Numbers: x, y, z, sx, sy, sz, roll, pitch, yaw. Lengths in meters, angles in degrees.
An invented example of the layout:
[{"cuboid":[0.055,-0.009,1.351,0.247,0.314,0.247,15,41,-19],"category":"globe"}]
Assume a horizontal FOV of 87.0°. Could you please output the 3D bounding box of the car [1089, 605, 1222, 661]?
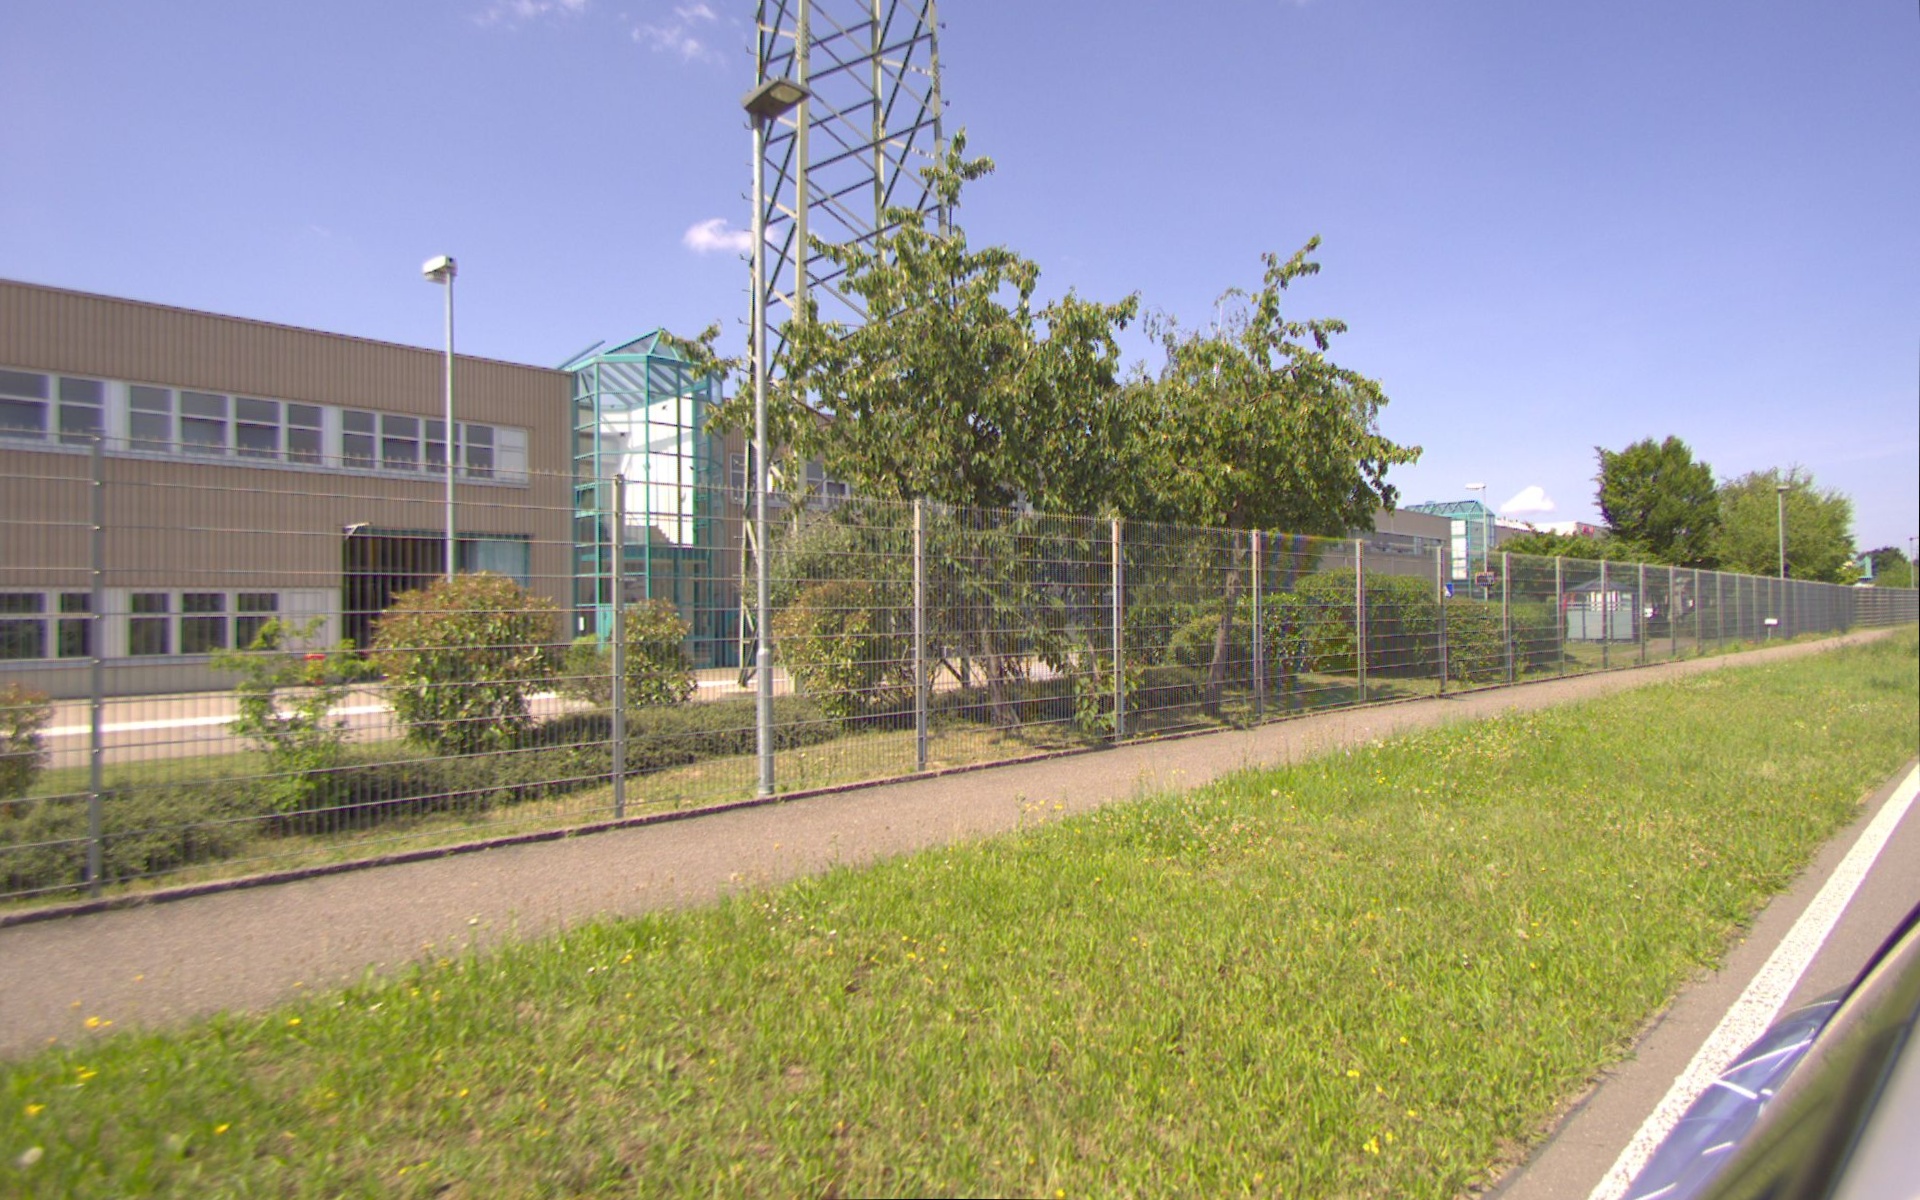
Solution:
[{"cuboid":[7.076,1.115,36.181,2.107,1.802,5.570,-2,-1,42],"category":"car"}]
